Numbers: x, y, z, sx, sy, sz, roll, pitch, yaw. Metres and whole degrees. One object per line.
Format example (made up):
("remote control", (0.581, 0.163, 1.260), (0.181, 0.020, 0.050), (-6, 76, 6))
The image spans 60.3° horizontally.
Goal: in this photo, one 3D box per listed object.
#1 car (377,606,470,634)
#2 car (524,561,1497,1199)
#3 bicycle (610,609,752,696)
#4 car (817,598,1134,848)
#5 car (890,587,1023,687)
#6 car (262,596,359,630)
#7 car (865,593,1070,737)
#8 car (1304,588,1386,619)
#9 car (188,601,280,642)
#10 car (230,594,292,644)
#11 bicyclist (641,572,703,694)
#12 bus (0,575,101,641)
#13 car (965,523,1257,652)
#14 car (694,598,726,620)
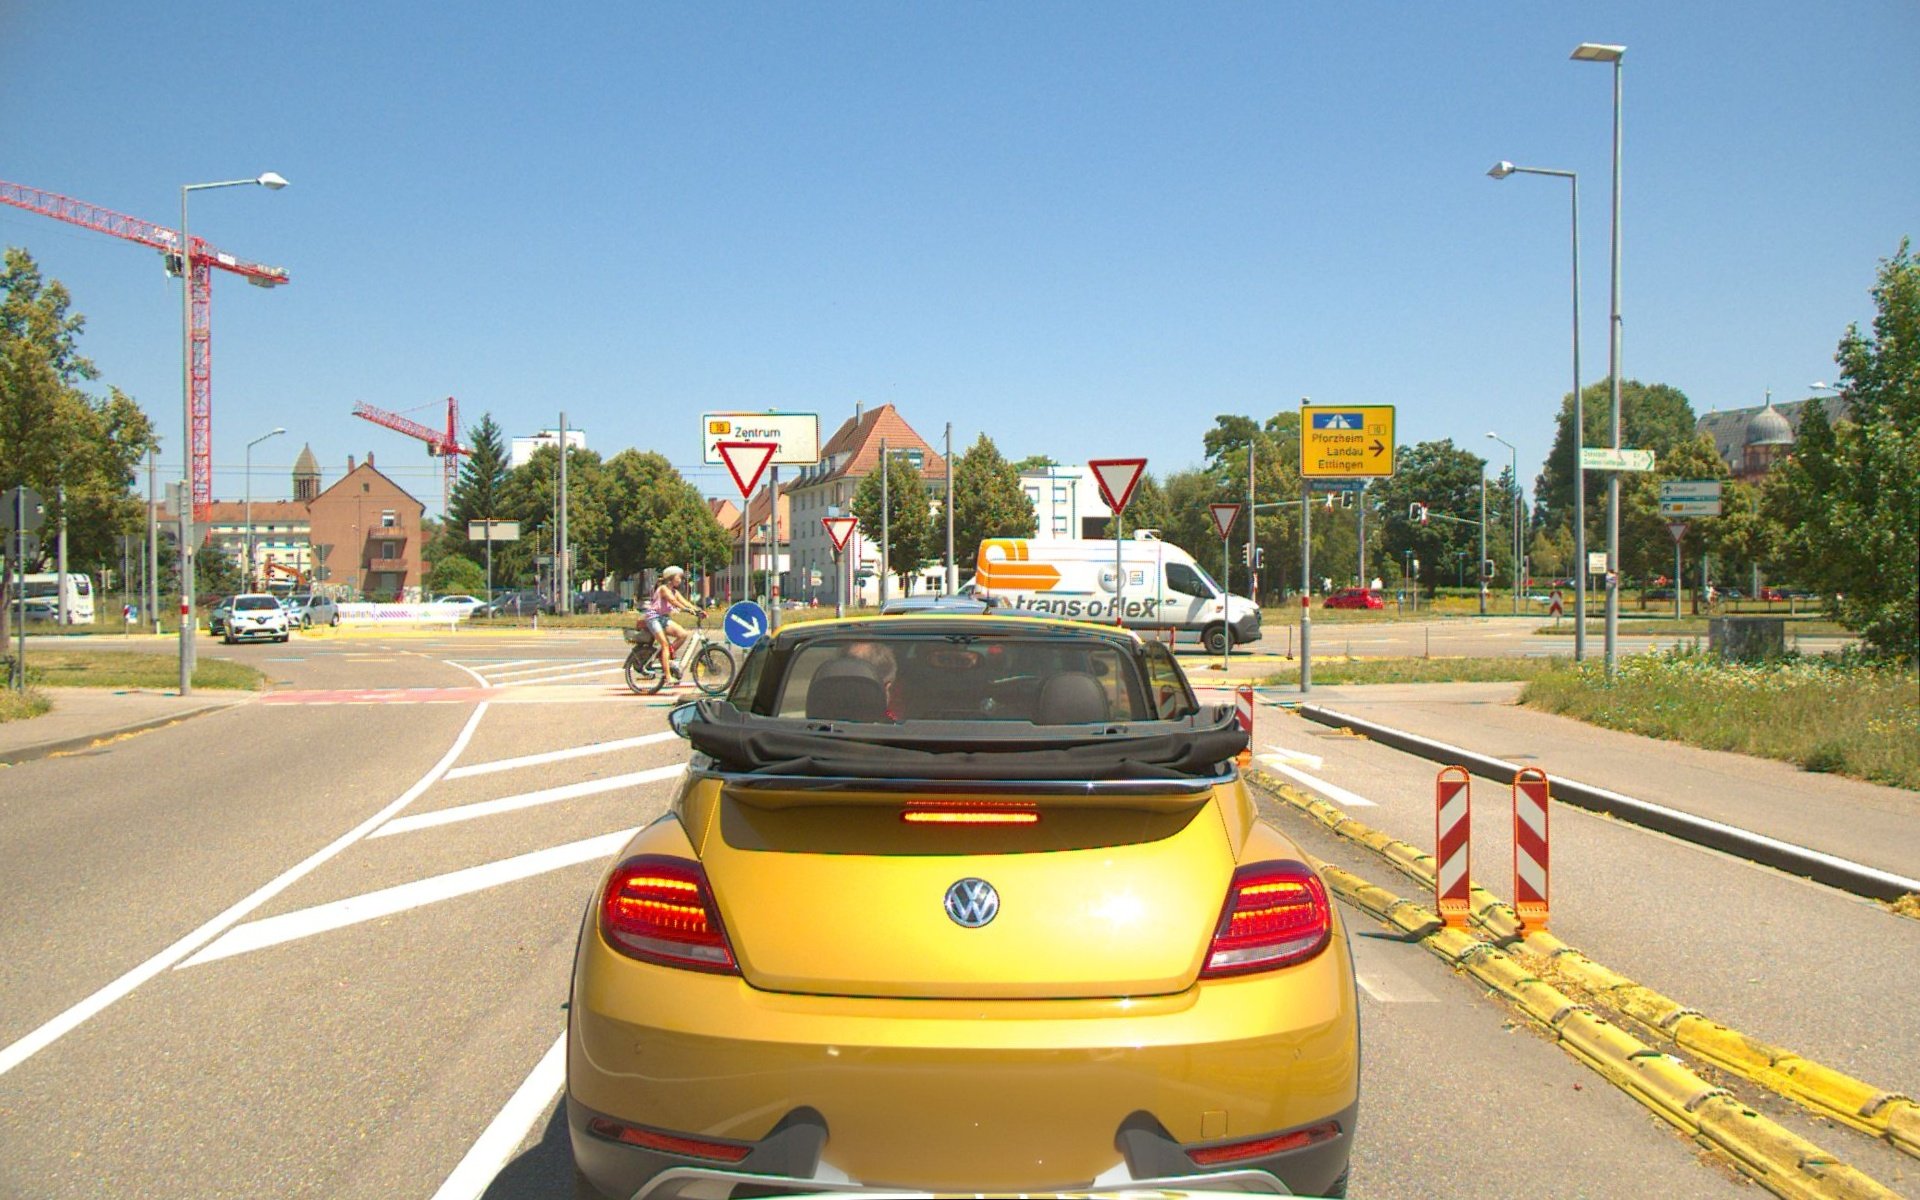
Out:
("car", (-28.057, 1.067, 86.571), (1.723, 1.395, 4.299), (1, 0, 45))
("car", (0.064, 0.707, 5.093), (1.729, 1.507, 4.257), (1, 0, -1))
("bicycle", (-4.149, 0.773, 24.573), (2.049, 1.242, 0.634), (-1, 0, 22))
("car", (0.059, 0.701, 11.647), (1.814, 1.389, 4.257), (-1, 0, -1))
("car", (-0.086, 0.550, 27.559), (2.023, 1.506, 4.542), (-1, 0, -1))
("car", (-27.944, 0.557, 71.316), (1.690, 1.427, 4.274), (1, 0, 15))
("car", (0.041, 0.655, 18.587), (2.023, 1.406, 4.257), (1, 0, -1))
("car", (22.166, 0.185, 95.274), (4.271, 1.683, 1.889), (1, 0, 43))
("car", (-26.351, 0.764, 60.189), (1.712, 1.395, 4.327), (1, 0, -5))
("car", (-22.675, 0.584, 53.585), (1.753, 1.554, 3.842), (-1, 0, -25))
("bicyclist", (-4.284, 0.484, 24.612), (0.656, 1.783, 0.592), (-1, 1, 20))
("bus", (-47.287, 0.383, 82.846), (7.118, 3.228, 2.257), (1, 0, -9))
("car", (3.608, -0.306, 39.348), (6.715, 2.877, 2.002), (1, 0, 9))
("car", (-20.500, 0.727, 135.378), (1.856, 1.803, 3.977), (1, 0, -19))
